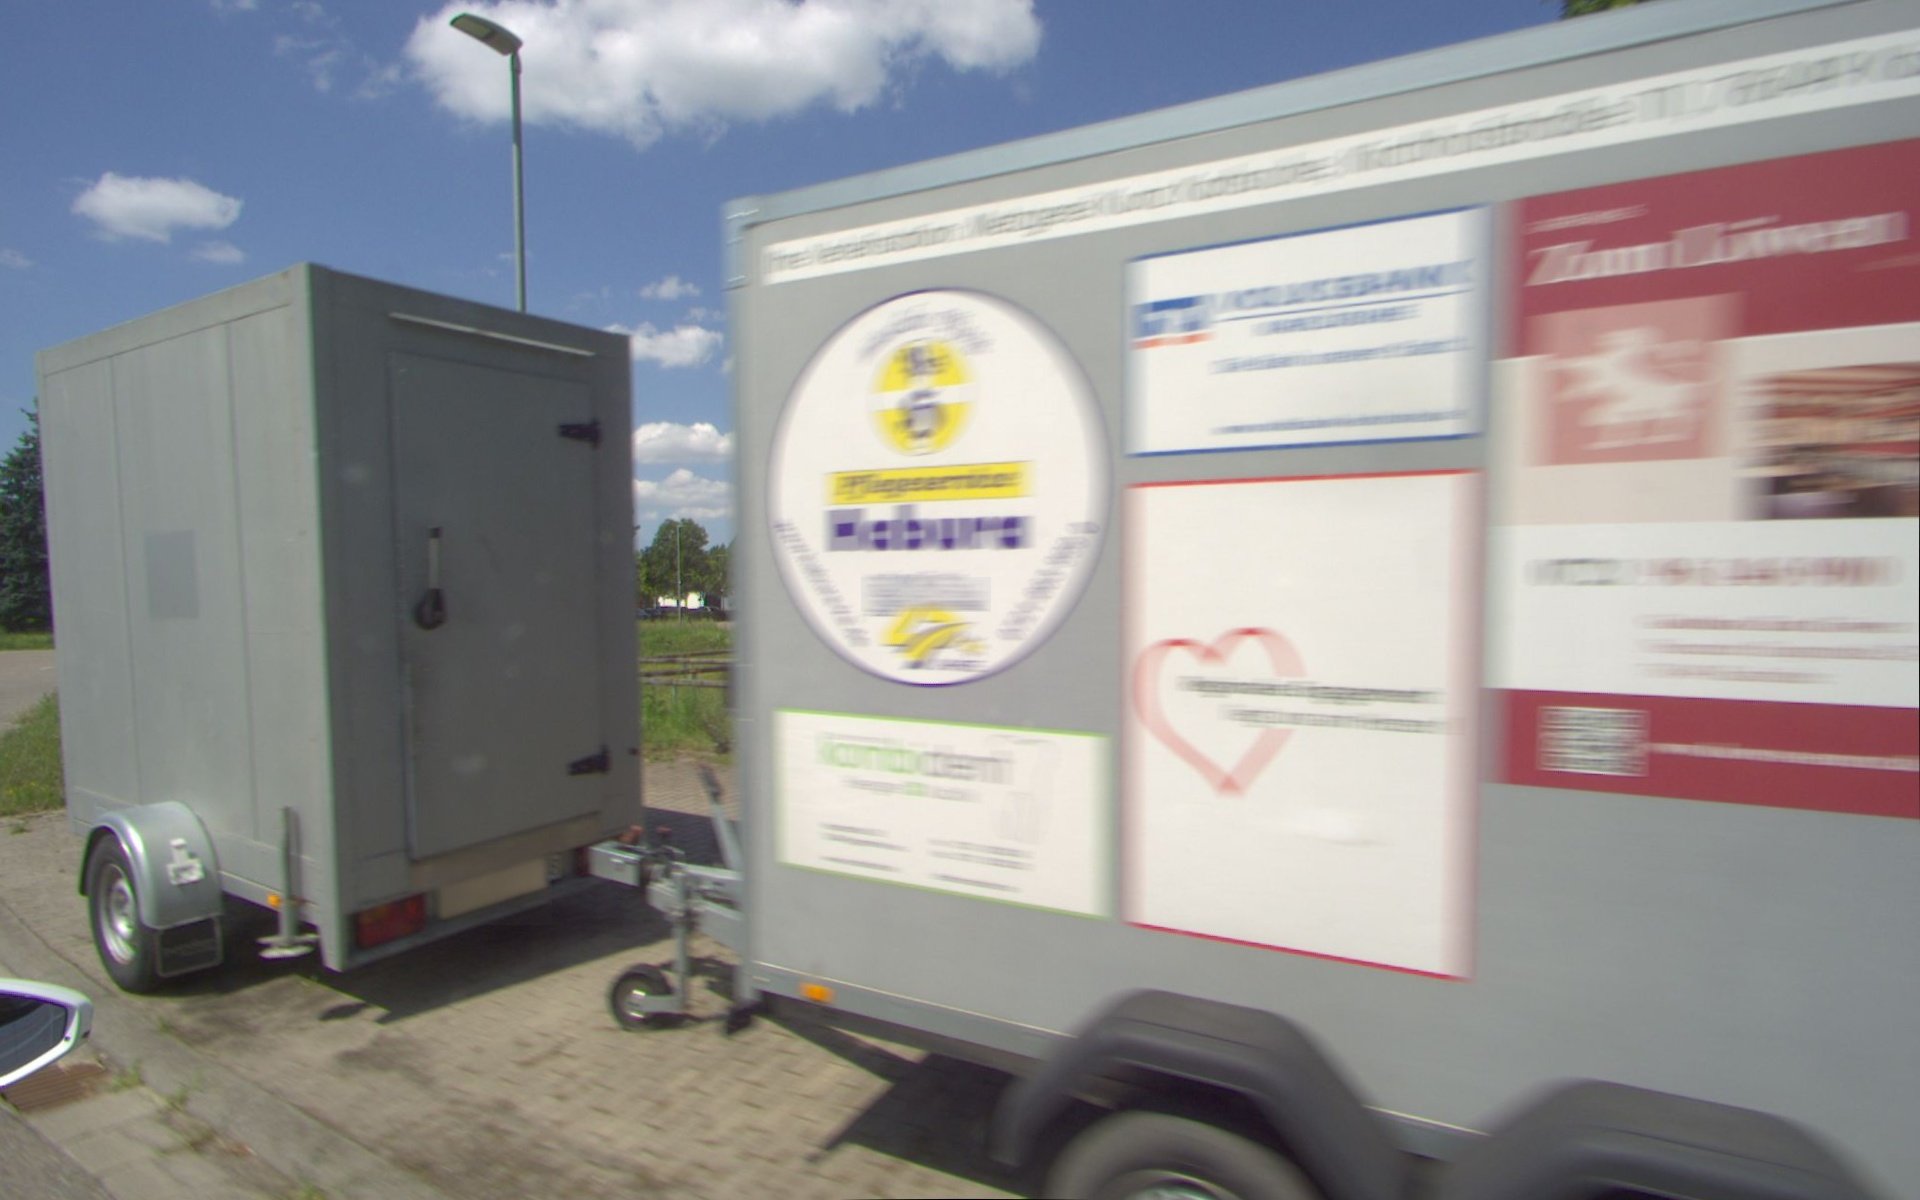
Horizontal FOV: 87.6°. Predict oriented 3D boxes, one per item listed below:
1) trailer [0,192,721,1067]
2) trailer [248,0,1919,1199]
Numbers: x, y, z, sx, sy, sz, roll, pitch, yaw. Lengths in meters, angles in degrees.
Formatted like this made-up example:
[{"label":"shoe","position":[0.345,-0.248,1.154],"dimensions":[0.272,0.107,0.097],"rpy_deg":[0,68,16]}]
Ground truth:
[{"label":"trailer","position":[-3.812,0.073,5.279],"dimensions":[5.110,2.681,1.927],"rpy_deg":[0,3,33]},{"label":"trailer","position":[0.464,0.155,2.723],"dimensions":[4.667,2.543,1.916],"rpy_deg":[0,3,28]}]
